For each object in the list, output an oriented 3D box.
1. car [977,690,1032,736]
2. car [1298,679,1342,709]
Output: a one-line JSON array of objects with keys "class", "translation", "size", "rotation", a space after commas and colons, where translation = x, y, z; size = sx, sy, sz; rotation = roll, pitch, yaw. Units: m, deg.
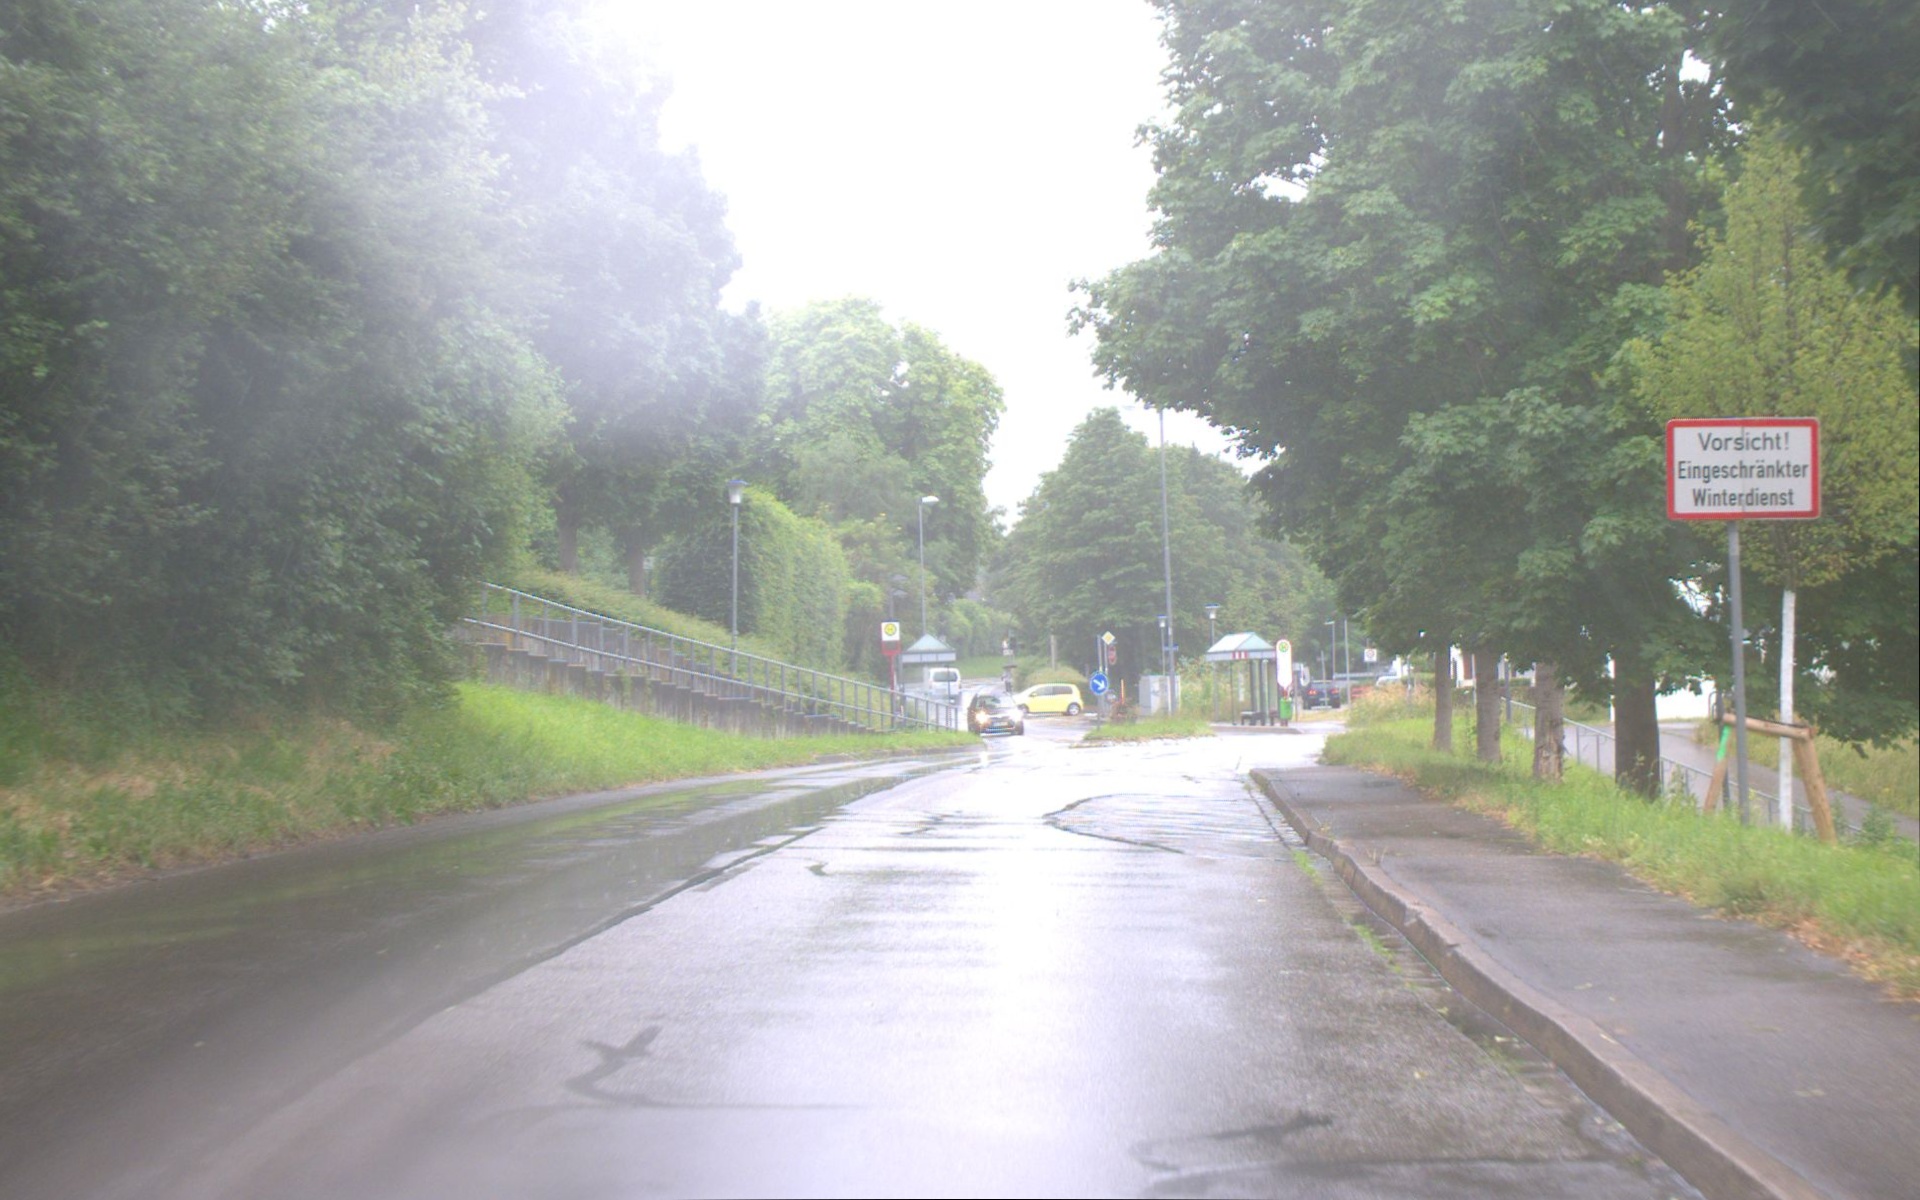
[{"class": "car", "translation": [1.557, 4.032, 122.284], "size": [1.760, 1.498, 4.141], "rotation": [-3, -2, -1]}, {"class": "car", "translation": [18.729, 4.903, 178.965], "size": [1.688, 1.433, 3.612], "rotation": [-1, 0, -3]}]
